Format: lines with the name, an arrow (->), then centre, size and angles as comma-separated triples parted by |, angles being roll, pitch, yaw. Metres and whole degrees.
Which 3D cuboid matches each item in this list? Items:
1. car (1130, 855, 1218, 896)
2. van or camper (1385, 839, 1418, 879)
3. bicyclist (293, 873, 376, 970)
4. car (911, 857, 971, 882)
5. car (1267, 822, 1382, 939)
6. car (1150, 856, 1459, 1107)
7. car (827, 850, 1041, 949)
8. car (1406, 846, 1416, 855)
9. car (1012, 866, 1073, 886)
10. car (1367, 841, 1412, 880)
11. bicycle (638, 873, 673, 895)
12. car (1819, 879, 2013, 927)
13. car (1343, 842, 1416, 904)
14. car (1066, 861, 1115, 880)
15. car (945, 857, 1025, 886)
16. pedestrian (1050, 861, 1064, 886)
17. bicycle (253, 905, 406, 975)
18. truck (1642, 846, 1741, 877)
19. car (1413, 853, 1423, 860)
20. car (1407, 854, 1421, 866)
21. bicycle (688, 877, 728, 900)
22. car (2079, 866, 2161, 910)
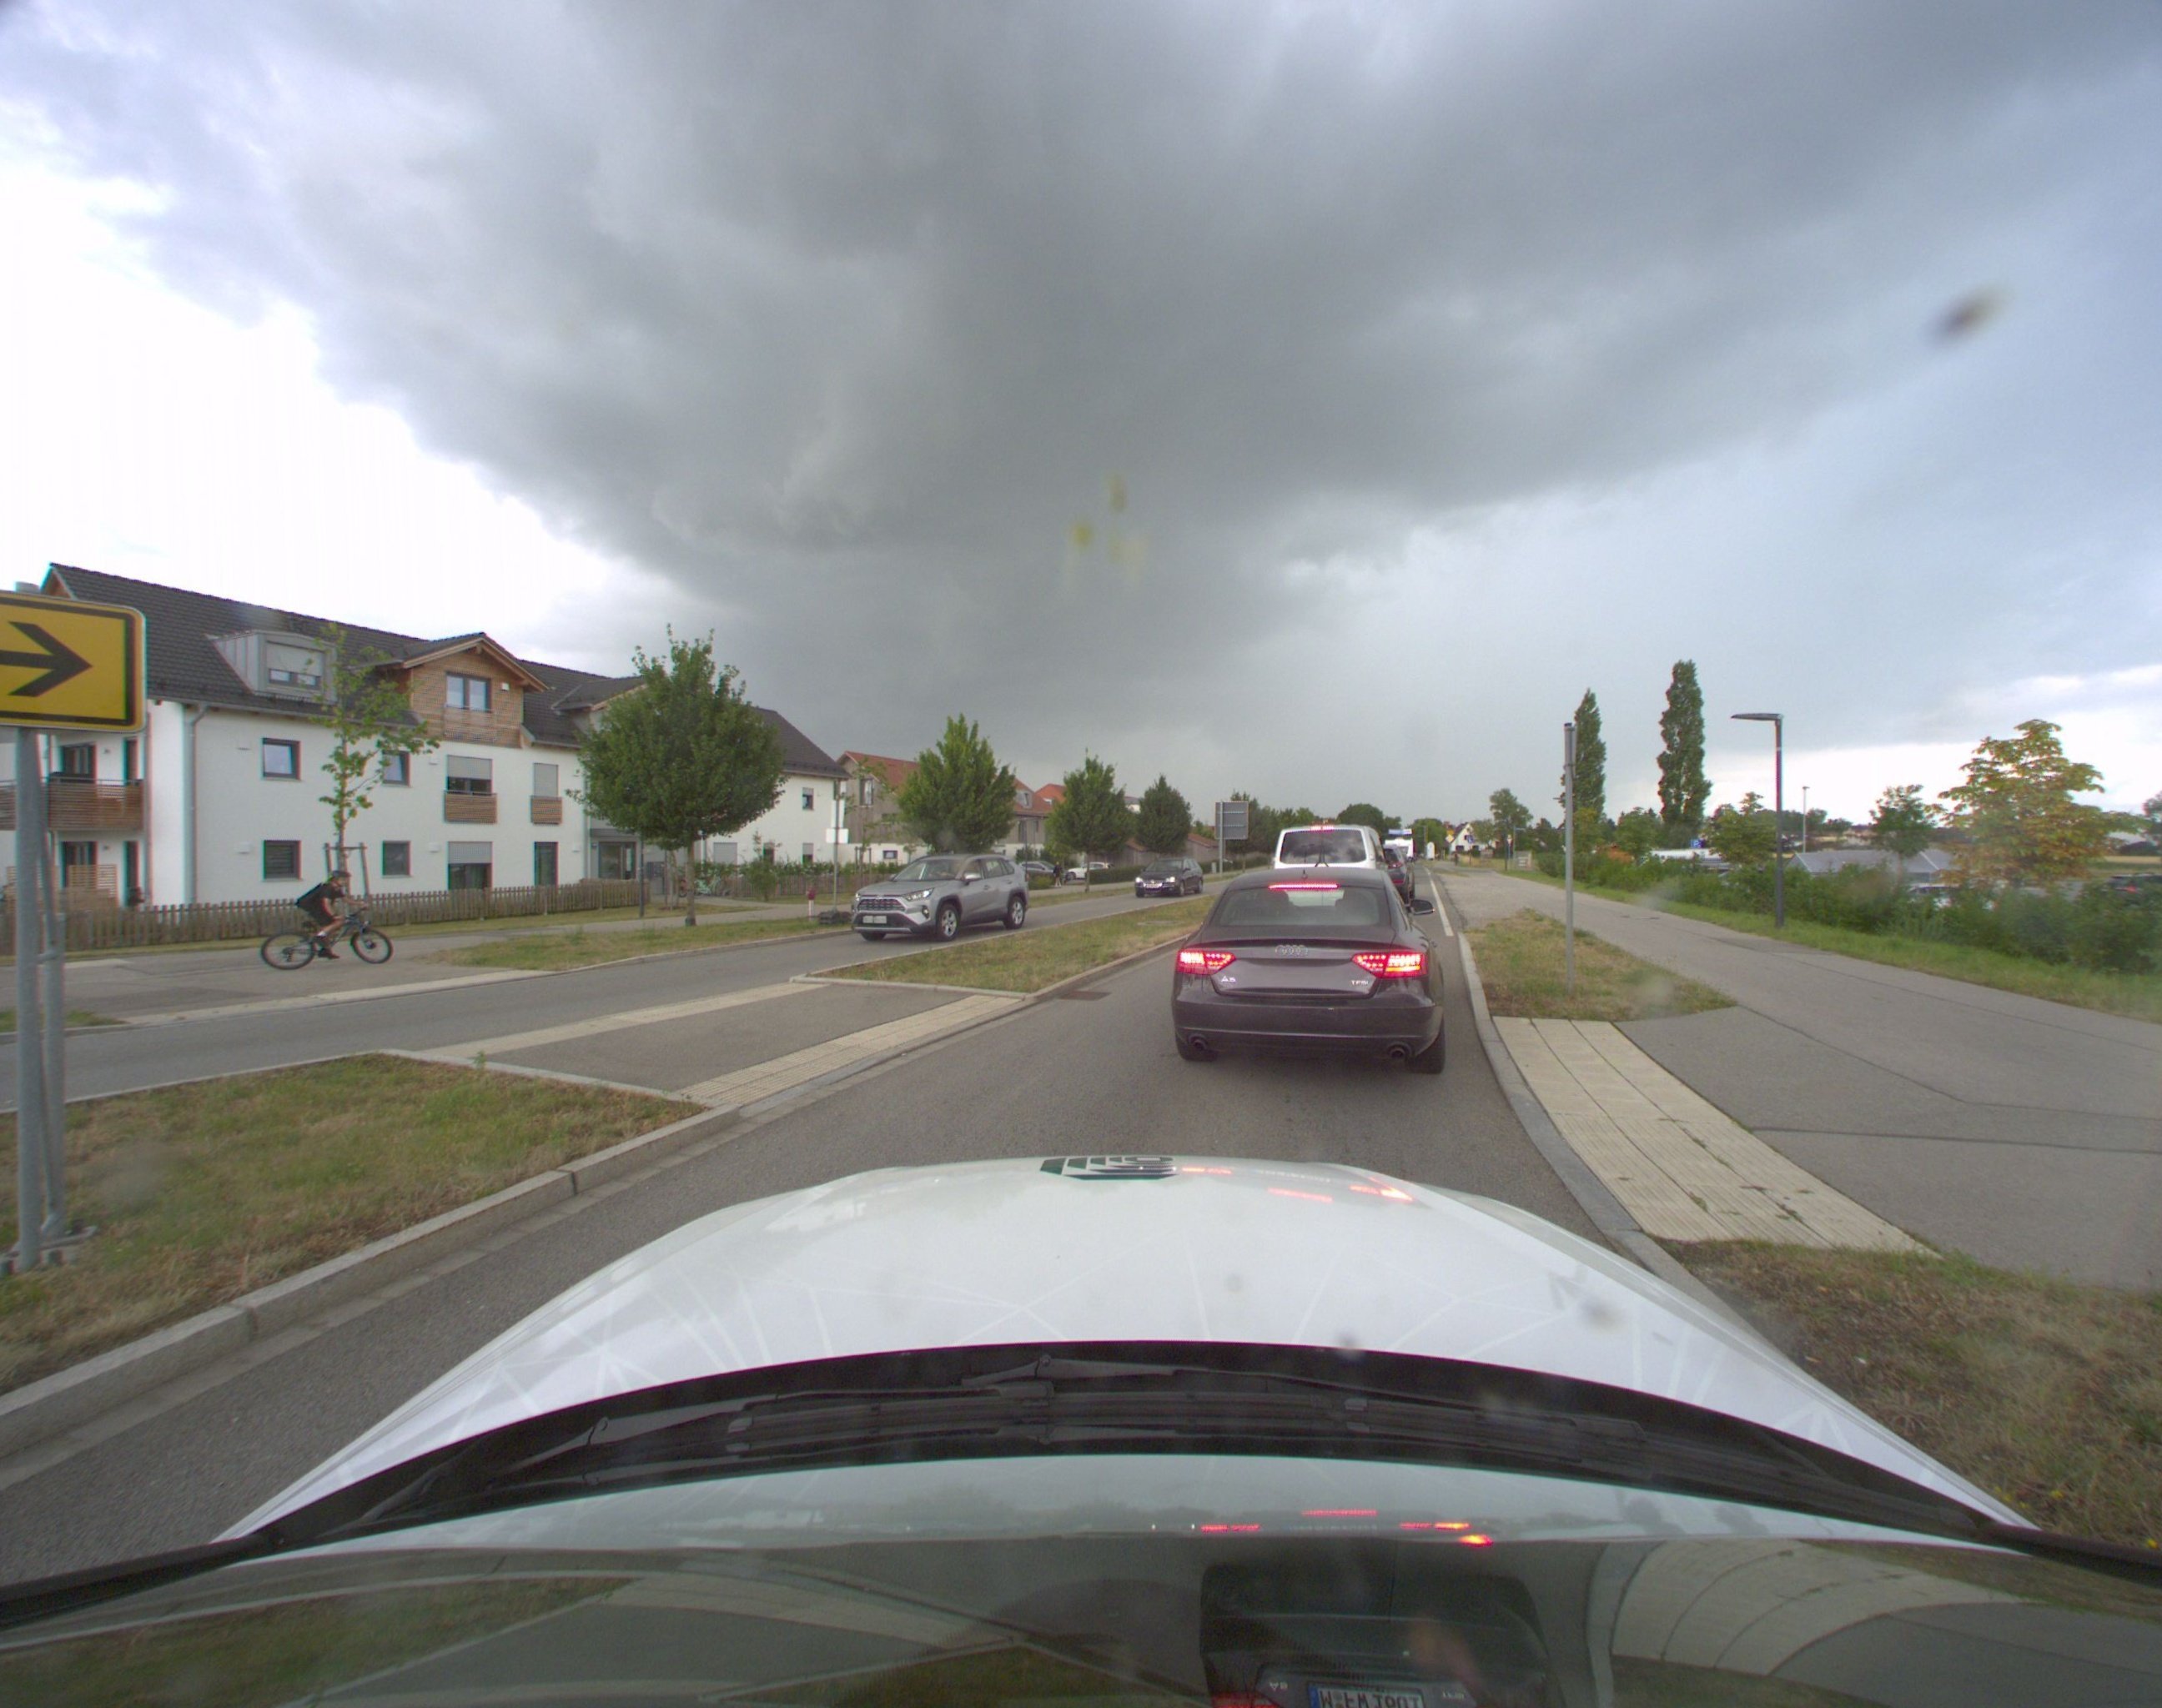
car -> 3.633, 0.783, 31.072 | 1.737, 1.416, 4.483 | -2, -1, 28
van or camper -> 28.438, 0.440, 72.261 | 2.602, 3.323, 6.857 | 0, -1, 22
bicyclist -> -11.853, 1.035, 12.956 | 0.873, 1.446, 0.716 | -1, 0, -36
car -> -10.200, 1.120, 59.570 | 1.975, 1.772, 4.492 | 0, 0, 28
car -> 4.774, 0.412, 15.630 | 1.852, 1.934, 4.020 | 0, 1, 20
car -> 2.008, 0.738, 6.839 | 1.769, 1.391, 4.154 | -1, 0, 20
car -> -2.760, 0.794, 16.544 | 1.975, 1.704, 4.661 | -1, 0, 24
car -> 85.995, -0.961, 212.242 | 1.975, 2.211, 4.024 | 0, 0, 27
car -> -2.728, 1.556, 57.704 | 3.881, 1.315, 1.852 | 0, 0, 20
car -> 14.026, 0.293, 36.861 | 1.761, 1.618, 4.022 | -1, -1, 22
bicycle -> -17.626, 1.243, 33.751 | 0.364, 0.843, 1.345 | 3, 1, 24
car -> 28.469, 1.638, 27.972 | 4.195, 1.440, 2.011 | 0, 0, 23
car -> 8.605, 0.481, 23.318 | 1.761, 1.618, 4.022 | 0, 0, 23
car -> 0.779, 1.345, 66.778 | 3.698, 1.482, 1.695 | 0, 0, 19
car -> -5.868, 1.047, 49.943 | 4.489, 1.680, 2.012 | 0, 0, 26
pedestrian -> -1.496, 1.196, 50.643 | 0.651, 1.559, 0.587 | 0, 0, 32
bicycle -> -11.938, 1.343, 13.007 | 1.721, 0.946, 0.492 | -1, -1, -35
truck -> 39.315, 0.463, 52.573 | 4.758, 1.872, 2.009 | 0, 0, 18
car -> 59.419, 0.399, 143.519 | 1.599, 1.272, 3.480 | 0, 0, 23
car -> 45.251, 0.766, 110.589 | 1.599, 1.631, 3.636 | 0, 0, 23
bicycle -> -15.017, 1.363, 32.831 | 0.364, 0.843, 1.556 | 3, 1, 24
car -> 43.528, 1.340, 32.332 | 4.517, 1.664, 2.011 | 0, 0, 23
